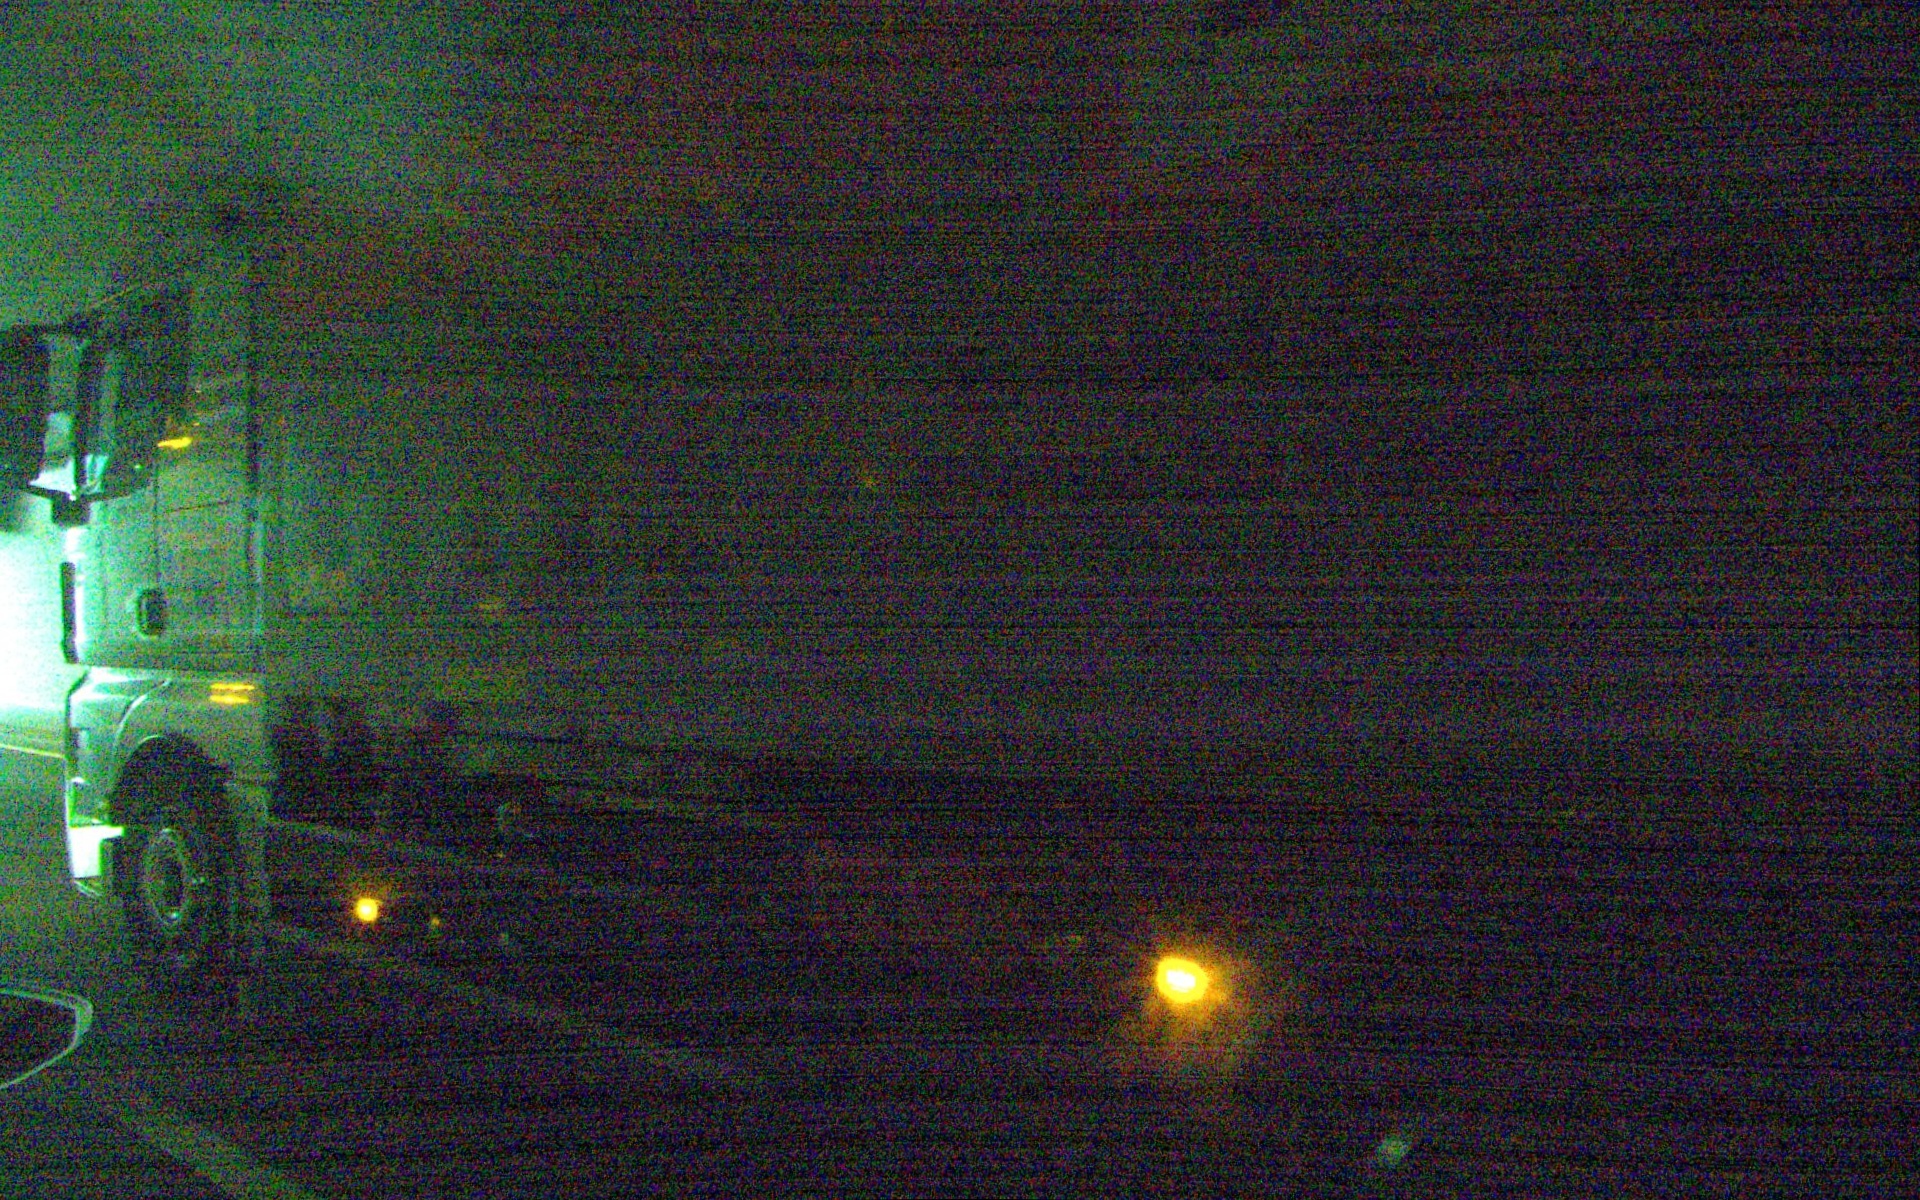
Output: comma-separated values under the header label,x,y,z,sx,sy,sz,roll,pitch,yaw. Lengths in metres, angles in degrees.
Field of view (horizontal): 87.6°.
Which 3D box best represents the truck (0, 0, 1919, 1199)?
label,x,y,z,sx,sy,sz,roll,pitch,yaw
truck,0.327,-0.495,3.201,9.764,3.963,2.885,-1,-2,32
